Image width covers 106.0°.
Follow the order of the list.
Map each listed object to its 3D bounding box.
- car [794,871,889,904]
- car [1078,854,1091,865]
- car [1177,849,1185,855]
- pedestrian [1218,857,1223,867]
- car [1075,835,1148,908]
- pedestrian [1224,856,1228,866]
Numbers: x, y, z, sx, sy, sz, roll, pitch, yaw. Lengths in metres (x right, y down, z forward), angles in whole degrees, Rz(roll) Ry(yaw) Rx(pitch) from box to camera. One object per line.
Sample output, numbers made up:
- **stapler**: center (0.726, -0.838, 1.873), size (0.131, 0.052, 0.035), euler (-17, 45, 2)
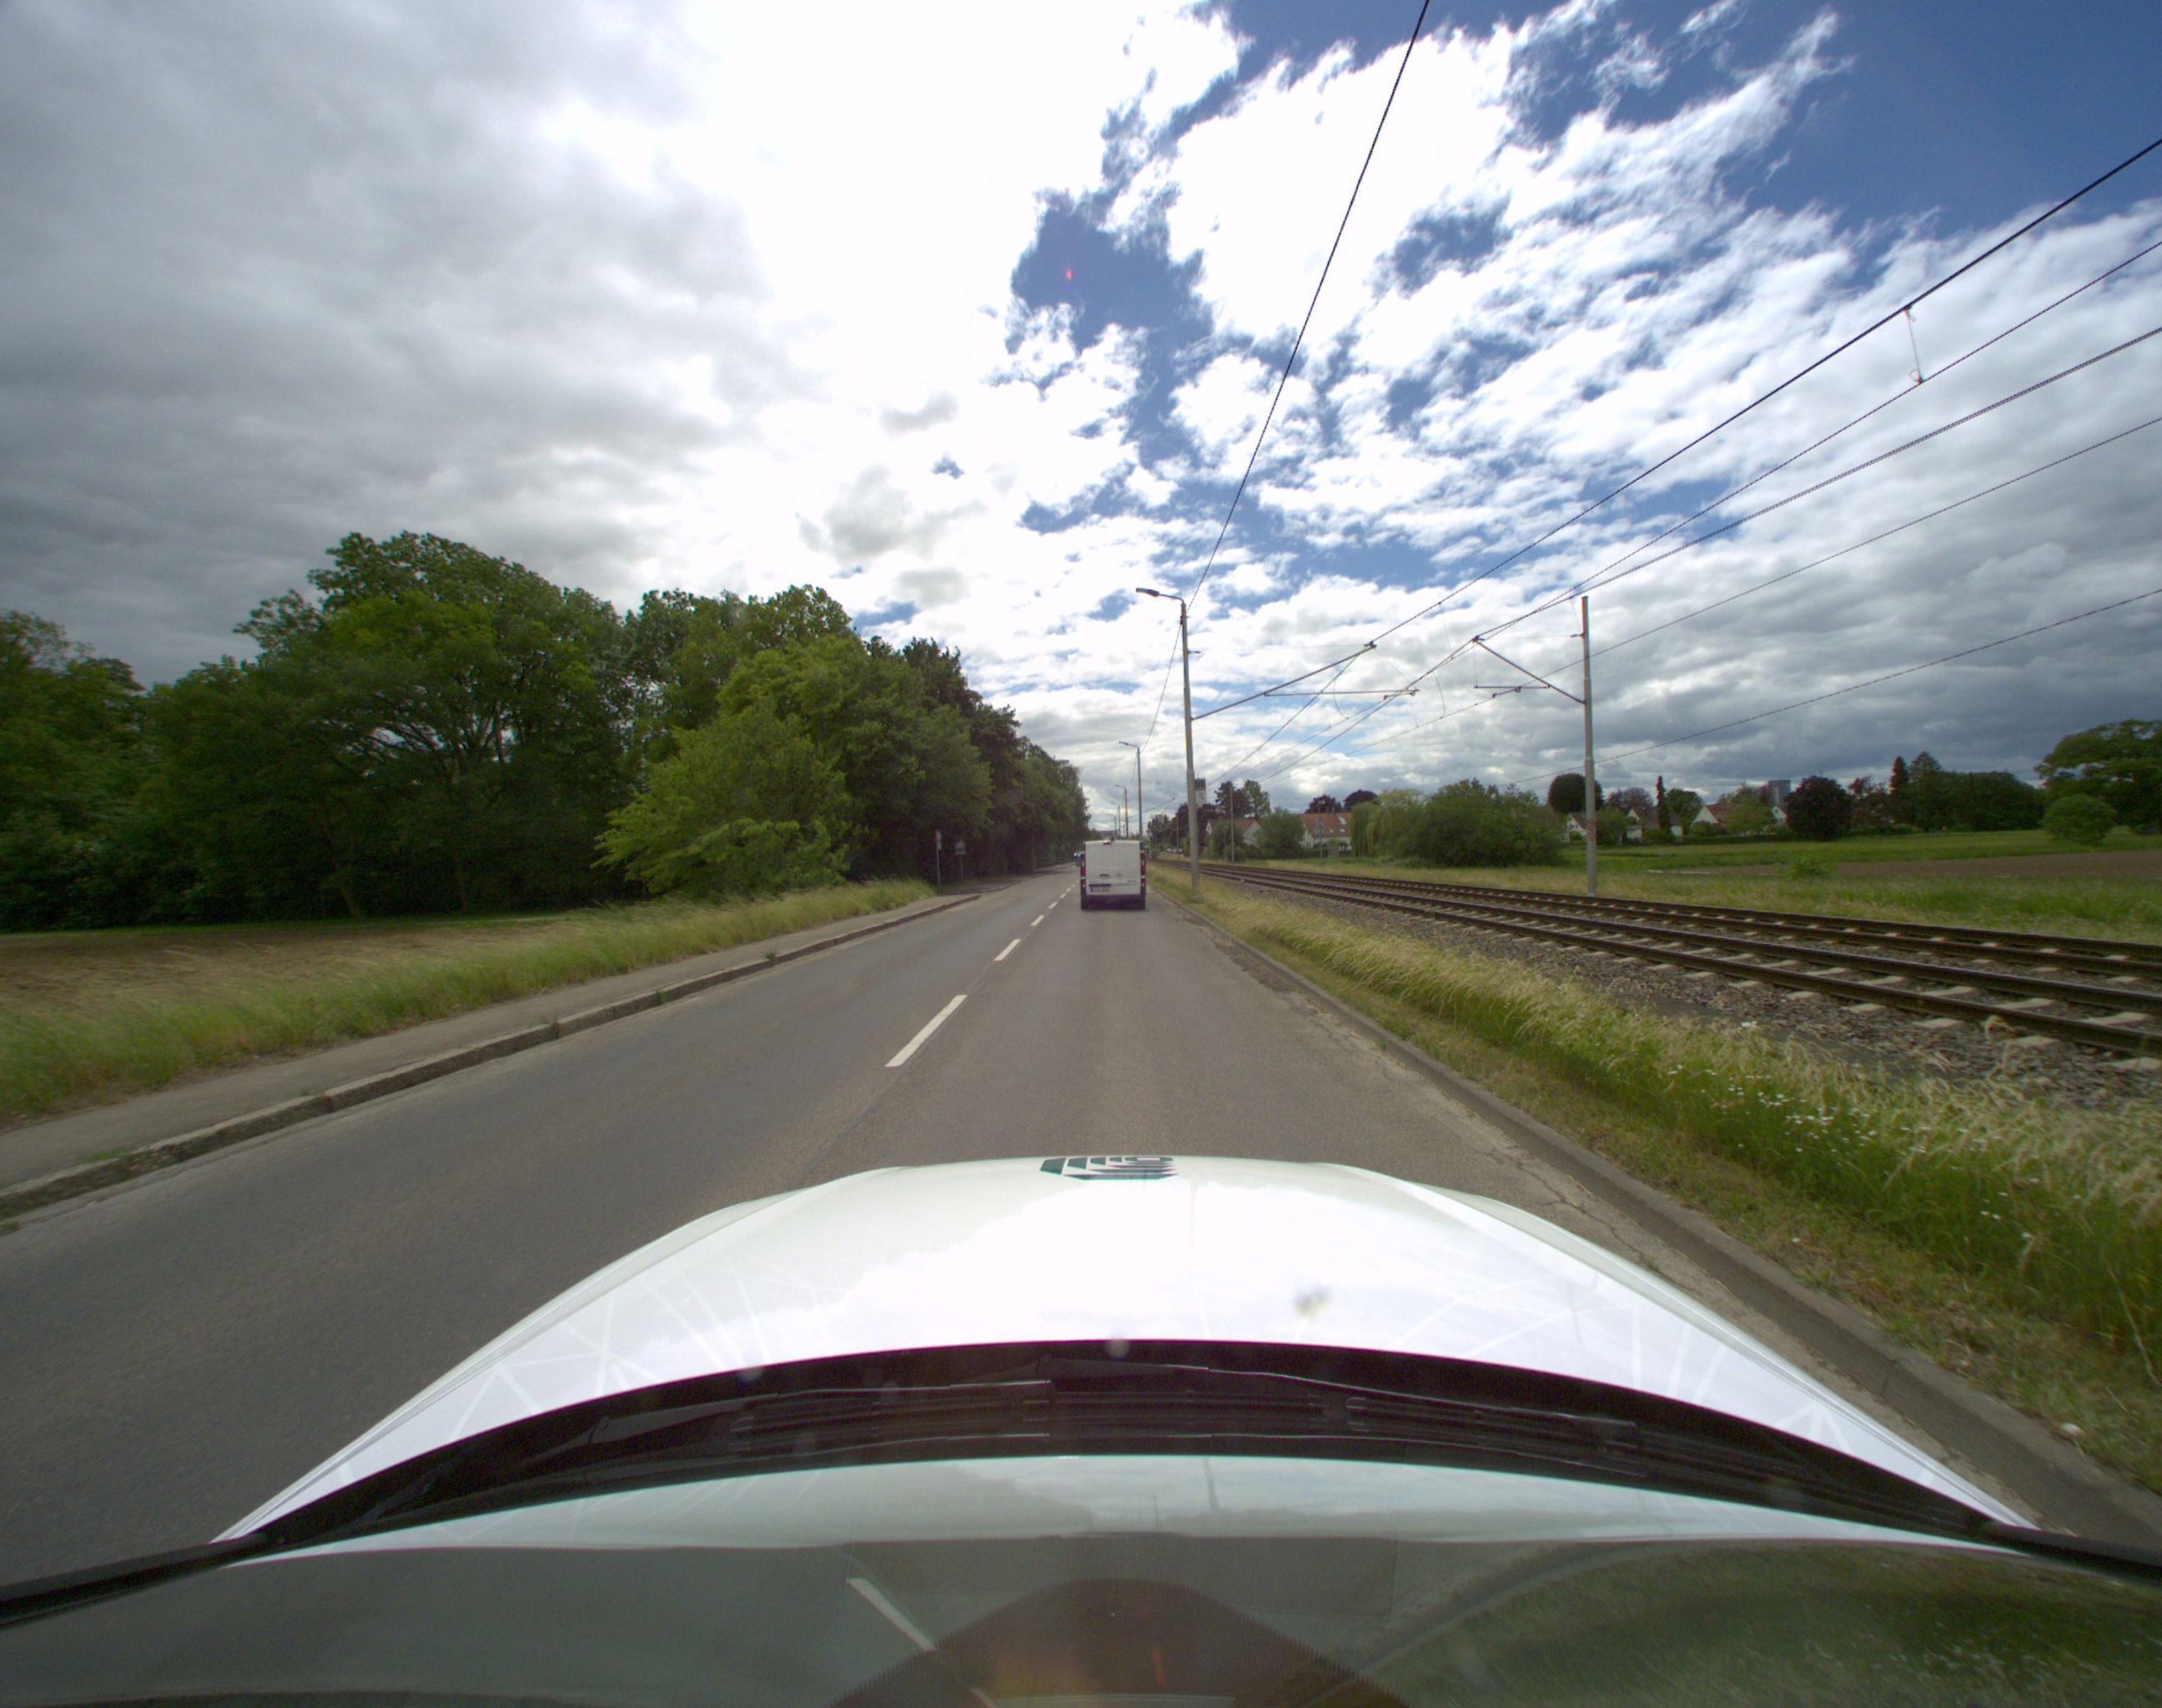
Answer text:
- **car**: center (-11.563, 1.611, 39.486), size (3.970, 1.299, 1.746), euler (-4, -1, 3)
- **car**: center (0.551, 0.926, 133.855), size (1.987, 1.717, 4.123), euler (-2, 0, 0)
- **car**: center (29.991, -0.550, 244.301), size (1.987, 1.717, 3.999), euler (0, -2, 0)
- **pedestrian**: center (21.776, 1.271, 127.282), size (0.654, 1.506, 0.656), euler (-2, -1, 0)
- **car**: center (0.852, 0.488, 24.277), size (1.987, 1.957, 4.000), euler (-1, 0, 0)
- **pedestrian**: center (22.589, 1.105, 127.110), size (0.524, 1.506, 0.657), euler (-2, -1, 1)
